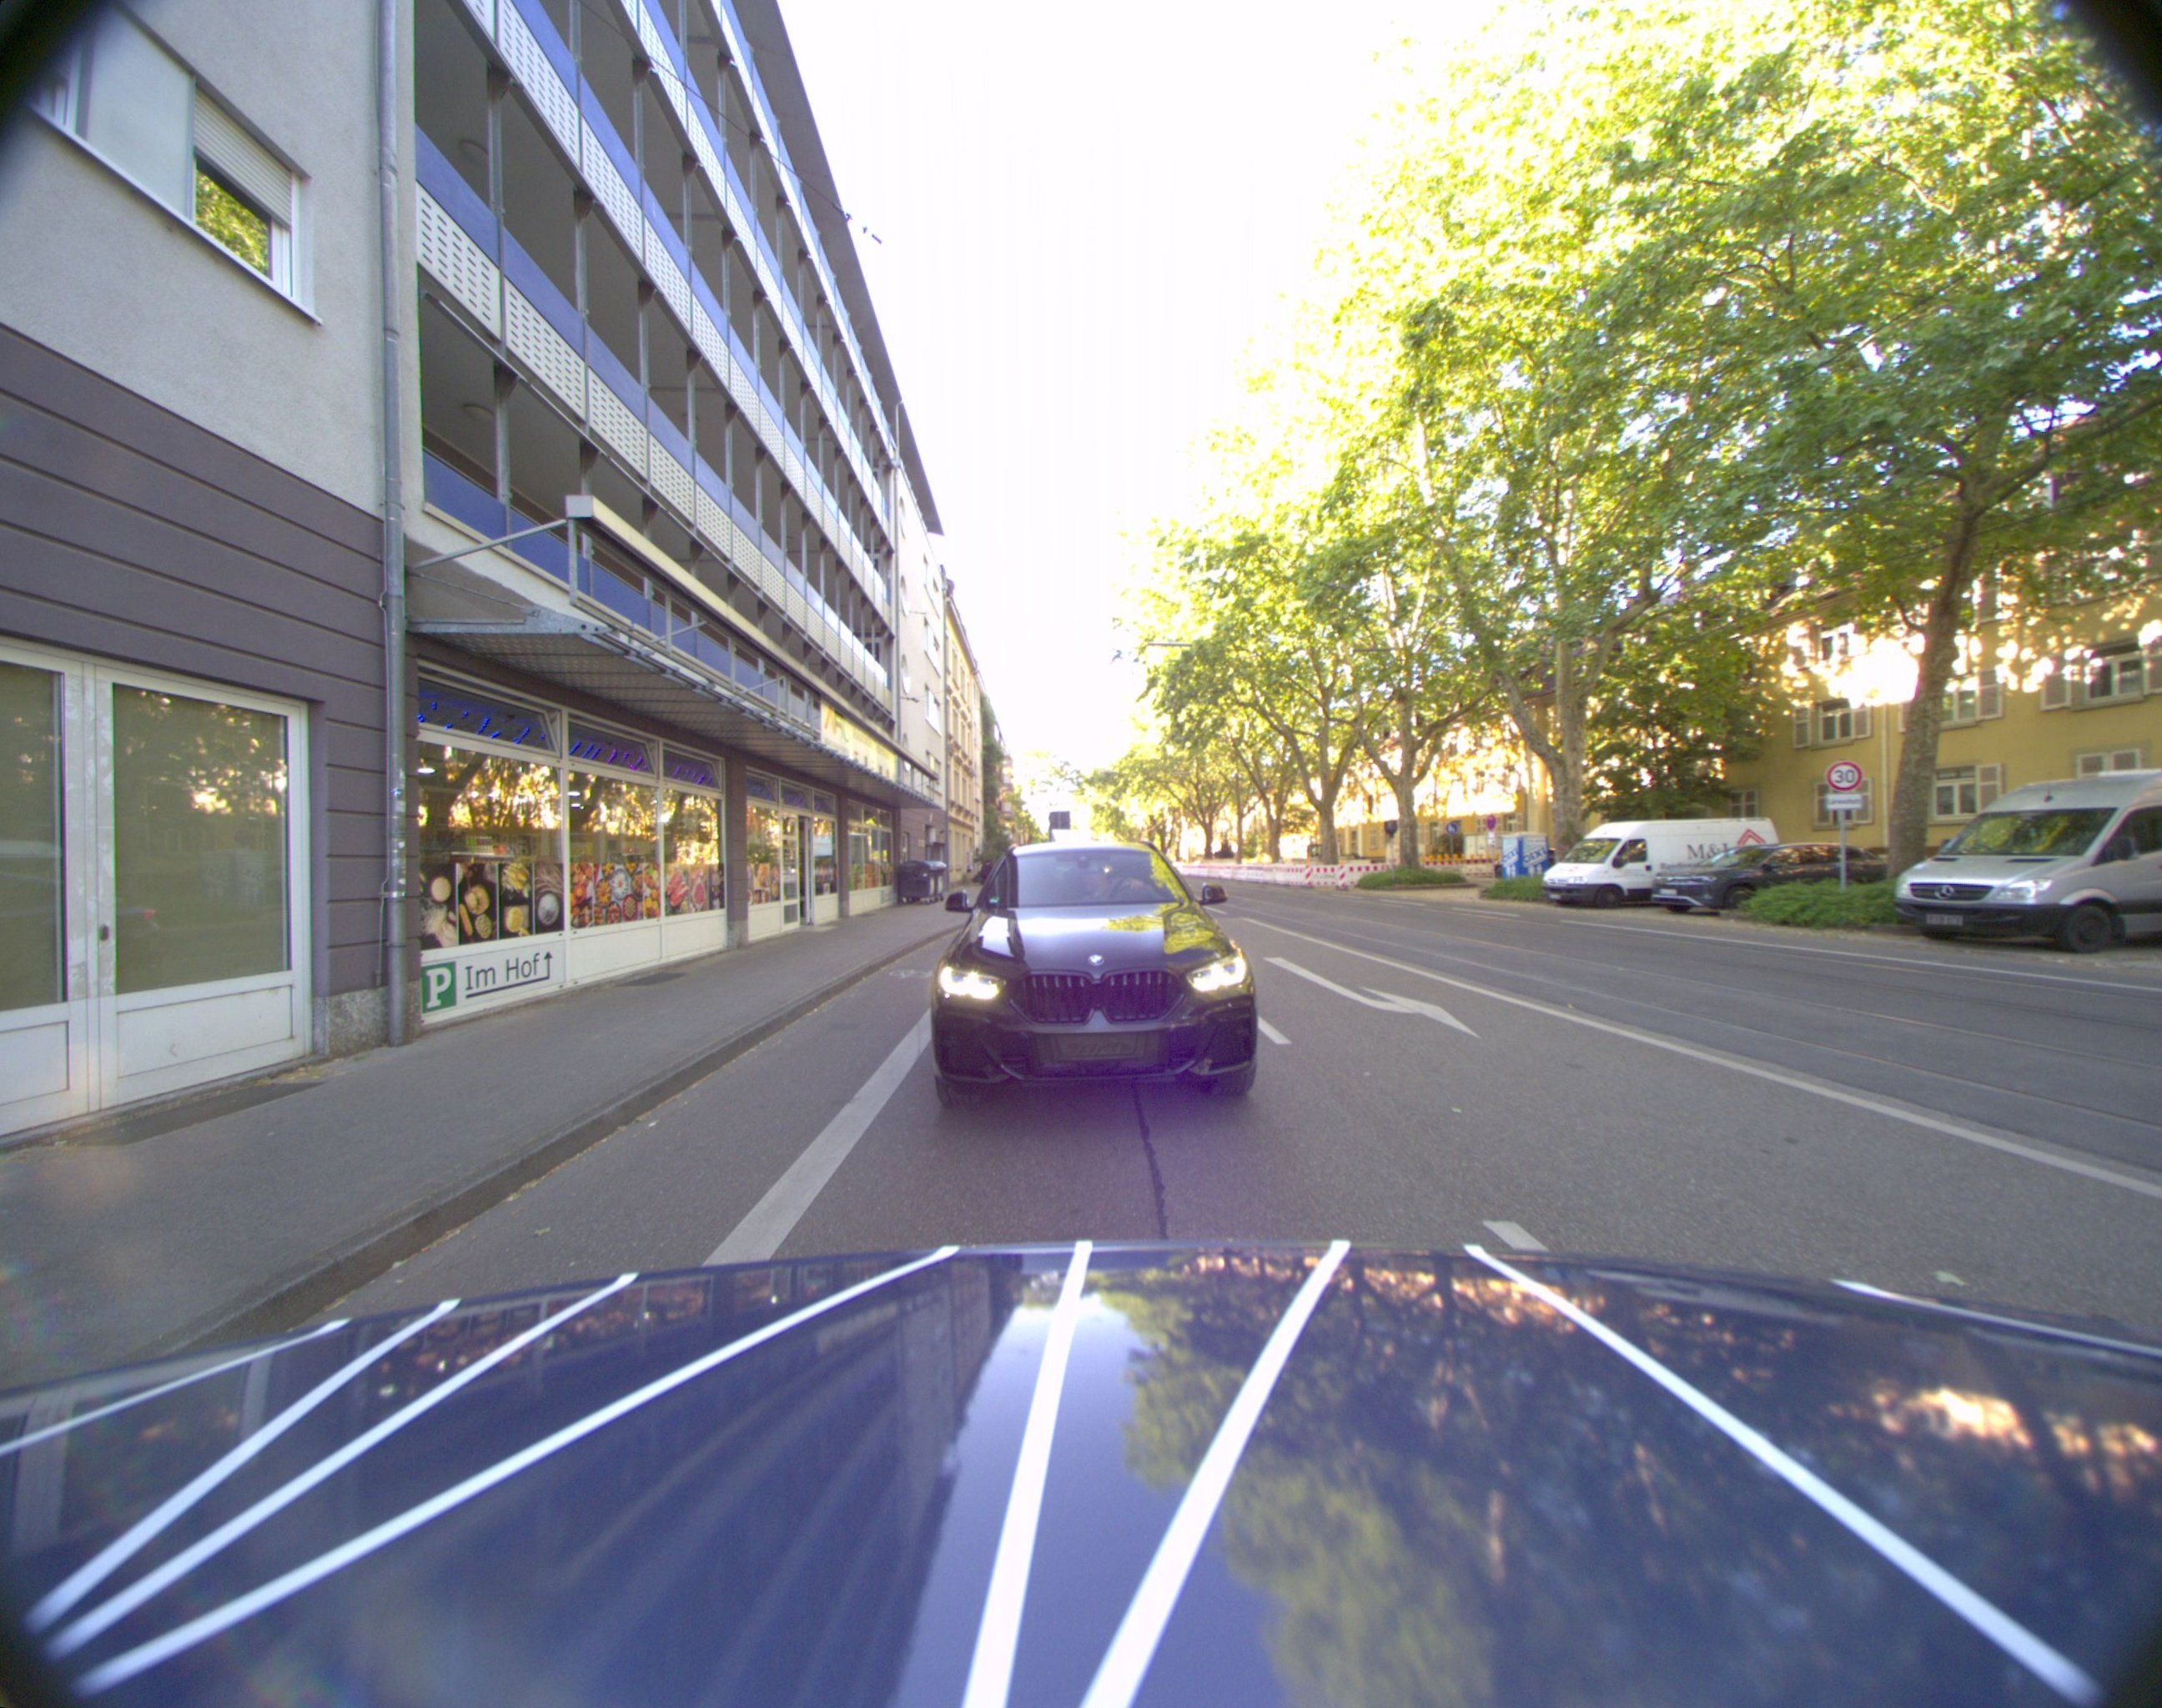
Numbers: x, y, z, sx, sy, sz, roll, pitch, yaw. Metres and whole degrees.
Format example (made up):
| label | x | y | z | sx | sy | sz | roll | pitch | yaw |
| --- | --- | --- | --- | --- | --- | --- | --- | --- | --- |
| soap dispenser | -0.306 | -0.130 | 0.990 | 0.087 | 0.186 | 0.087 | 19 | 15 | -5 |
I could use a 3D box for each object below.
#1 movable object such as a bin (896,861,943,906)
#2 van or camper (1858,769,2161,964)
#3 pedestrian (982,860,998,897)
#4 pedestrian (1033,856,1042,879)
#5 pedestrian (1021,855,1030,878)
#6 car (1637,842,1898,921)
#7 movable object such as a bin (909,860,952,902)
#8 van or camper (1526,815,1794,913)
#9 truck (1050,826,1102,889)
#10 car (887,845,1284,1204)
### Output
| label | x | y | z | sx | sy | sz | roll | pitch | yaw |
| --- | --- | --- | --- | --- | --- | --- | --- | --- | --- |
| movable object such as a bin | -5.259 | 0.948 | 24.840 | 1.203 | 1.402 | 1.372 | -1 | 0 | 1 |
| van or camper | 16.004 | 0.090 | 11.673 | 5.931 | 2.633 | 2.156 | -2 | 1 | 0 |
| pedestrian | -3.578 | 0.946 | 30.005 | 0.541 | 1.437 | 0.630 | -1 | 0 | 1 |
| pedestrian | -3.130 | 0.970 | 54.383 | 0.541 | 1.662 | 0.630 | -1 | 0 | 1 |
| pedestrian | -4.022 | 0.882 | 54.867 | 0.541 | 1.662 | 0.513 | -1 | 0 | 1 |
| car | 15.993 | 0.609 | 17.869 | 4.540 | 1.624 | 1.693 | -2 | 1 | 1 |
| movable object such as a bin | -5.284 | 0.927 | 26.803 | 1.203 | 1.402 | 1.372 | -1 | 0 | 1 |
| van or camper | 15.870 | 0.247 | 21.080 | 5.763 | 2.371 | 2.156 | -2 | 1 | 0 |
| truck | -0.369 | 0.131 | 41.032 | 2.344 | 3.095 | 5.210 | -2 | 1 | -4 |
| car | 0.067 | 0.838 | 6.159 | 1.930 | 1.742 | 4.683 | -2 | 1 | 1 |
